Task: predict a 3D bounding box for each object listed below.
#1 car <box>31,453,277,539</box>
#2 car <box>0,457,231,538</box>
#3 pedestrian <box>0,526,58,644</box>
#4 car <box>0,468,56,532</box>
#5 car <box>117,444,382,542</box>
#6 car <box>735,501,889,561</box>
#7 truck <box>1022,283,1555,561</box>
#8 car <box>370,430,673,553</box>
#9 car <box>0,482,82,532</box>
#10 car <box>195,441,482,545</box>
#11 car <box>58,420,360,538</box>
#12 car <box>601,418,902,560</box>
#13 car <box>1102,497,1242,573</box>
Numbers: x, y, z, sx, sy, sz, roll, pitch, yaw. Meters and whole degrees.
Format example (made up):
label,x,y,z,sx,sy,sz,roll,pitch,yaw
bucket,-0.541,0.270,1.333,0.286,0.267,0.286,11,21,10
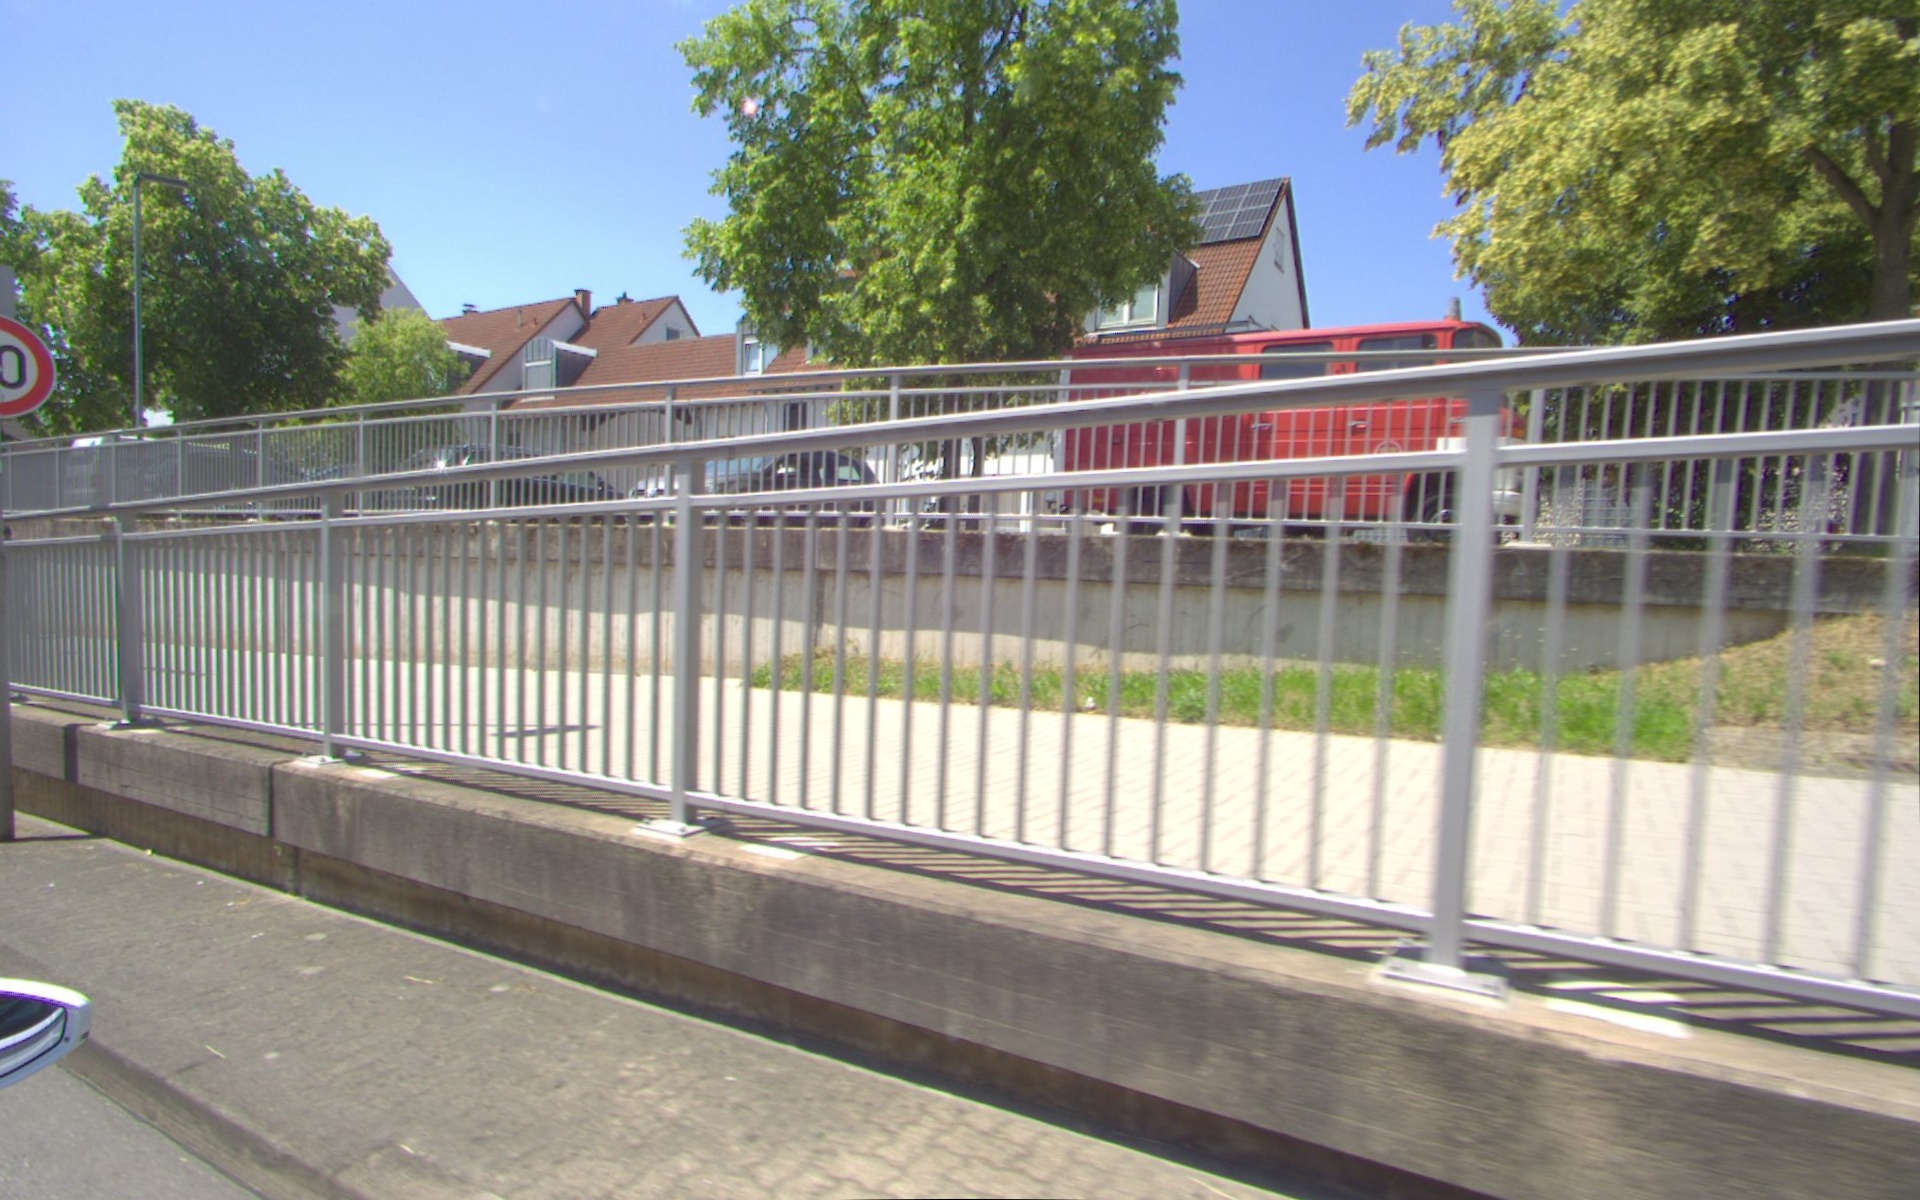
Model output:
label,x,y,z,sx,sy,sz,roll,pitch,yaw
car,-18.676,-2.335,23.403,1.662,1.618,4.194,3,2,33
car,-20.831,-2.461,24.795,1.662,1.618,4.194,3,2,33
pedestrian,-14.881,-0.236,15.751,0.777,1.806,0.834,1,1,33
car,-30.966,-3.191,31.191,1.662,1.911,3.896,3,2,33
car,-14.602,-2.127,20.816,1.662,1.618,4.194,3,2,33
car,-3.928,-1.835,27.341,1.732,1.511,4.394,3,4,32
truck,3.506,-1.713,11.091,5.181,2.366,2.128,3,2,32
car,-6.763,-1.603,15.892,1.662,1.519,4.194,3,2,33
car,-28.968,-2.822,29.867,1.662,1.386,3.896,3,2,33
car,-11.479,-1.902,18.786,1.723,1.519,4.275,3,2,33
car,-16.702,-2.580,22.594,1.960,2.092,5.100,3,2,33
car,-2.689,-1.388,13.745,1.723,1.519,3.977,3,2,33
car,4.739,-1.396,22.030,1.732,1.499,3.927,3,4,32
